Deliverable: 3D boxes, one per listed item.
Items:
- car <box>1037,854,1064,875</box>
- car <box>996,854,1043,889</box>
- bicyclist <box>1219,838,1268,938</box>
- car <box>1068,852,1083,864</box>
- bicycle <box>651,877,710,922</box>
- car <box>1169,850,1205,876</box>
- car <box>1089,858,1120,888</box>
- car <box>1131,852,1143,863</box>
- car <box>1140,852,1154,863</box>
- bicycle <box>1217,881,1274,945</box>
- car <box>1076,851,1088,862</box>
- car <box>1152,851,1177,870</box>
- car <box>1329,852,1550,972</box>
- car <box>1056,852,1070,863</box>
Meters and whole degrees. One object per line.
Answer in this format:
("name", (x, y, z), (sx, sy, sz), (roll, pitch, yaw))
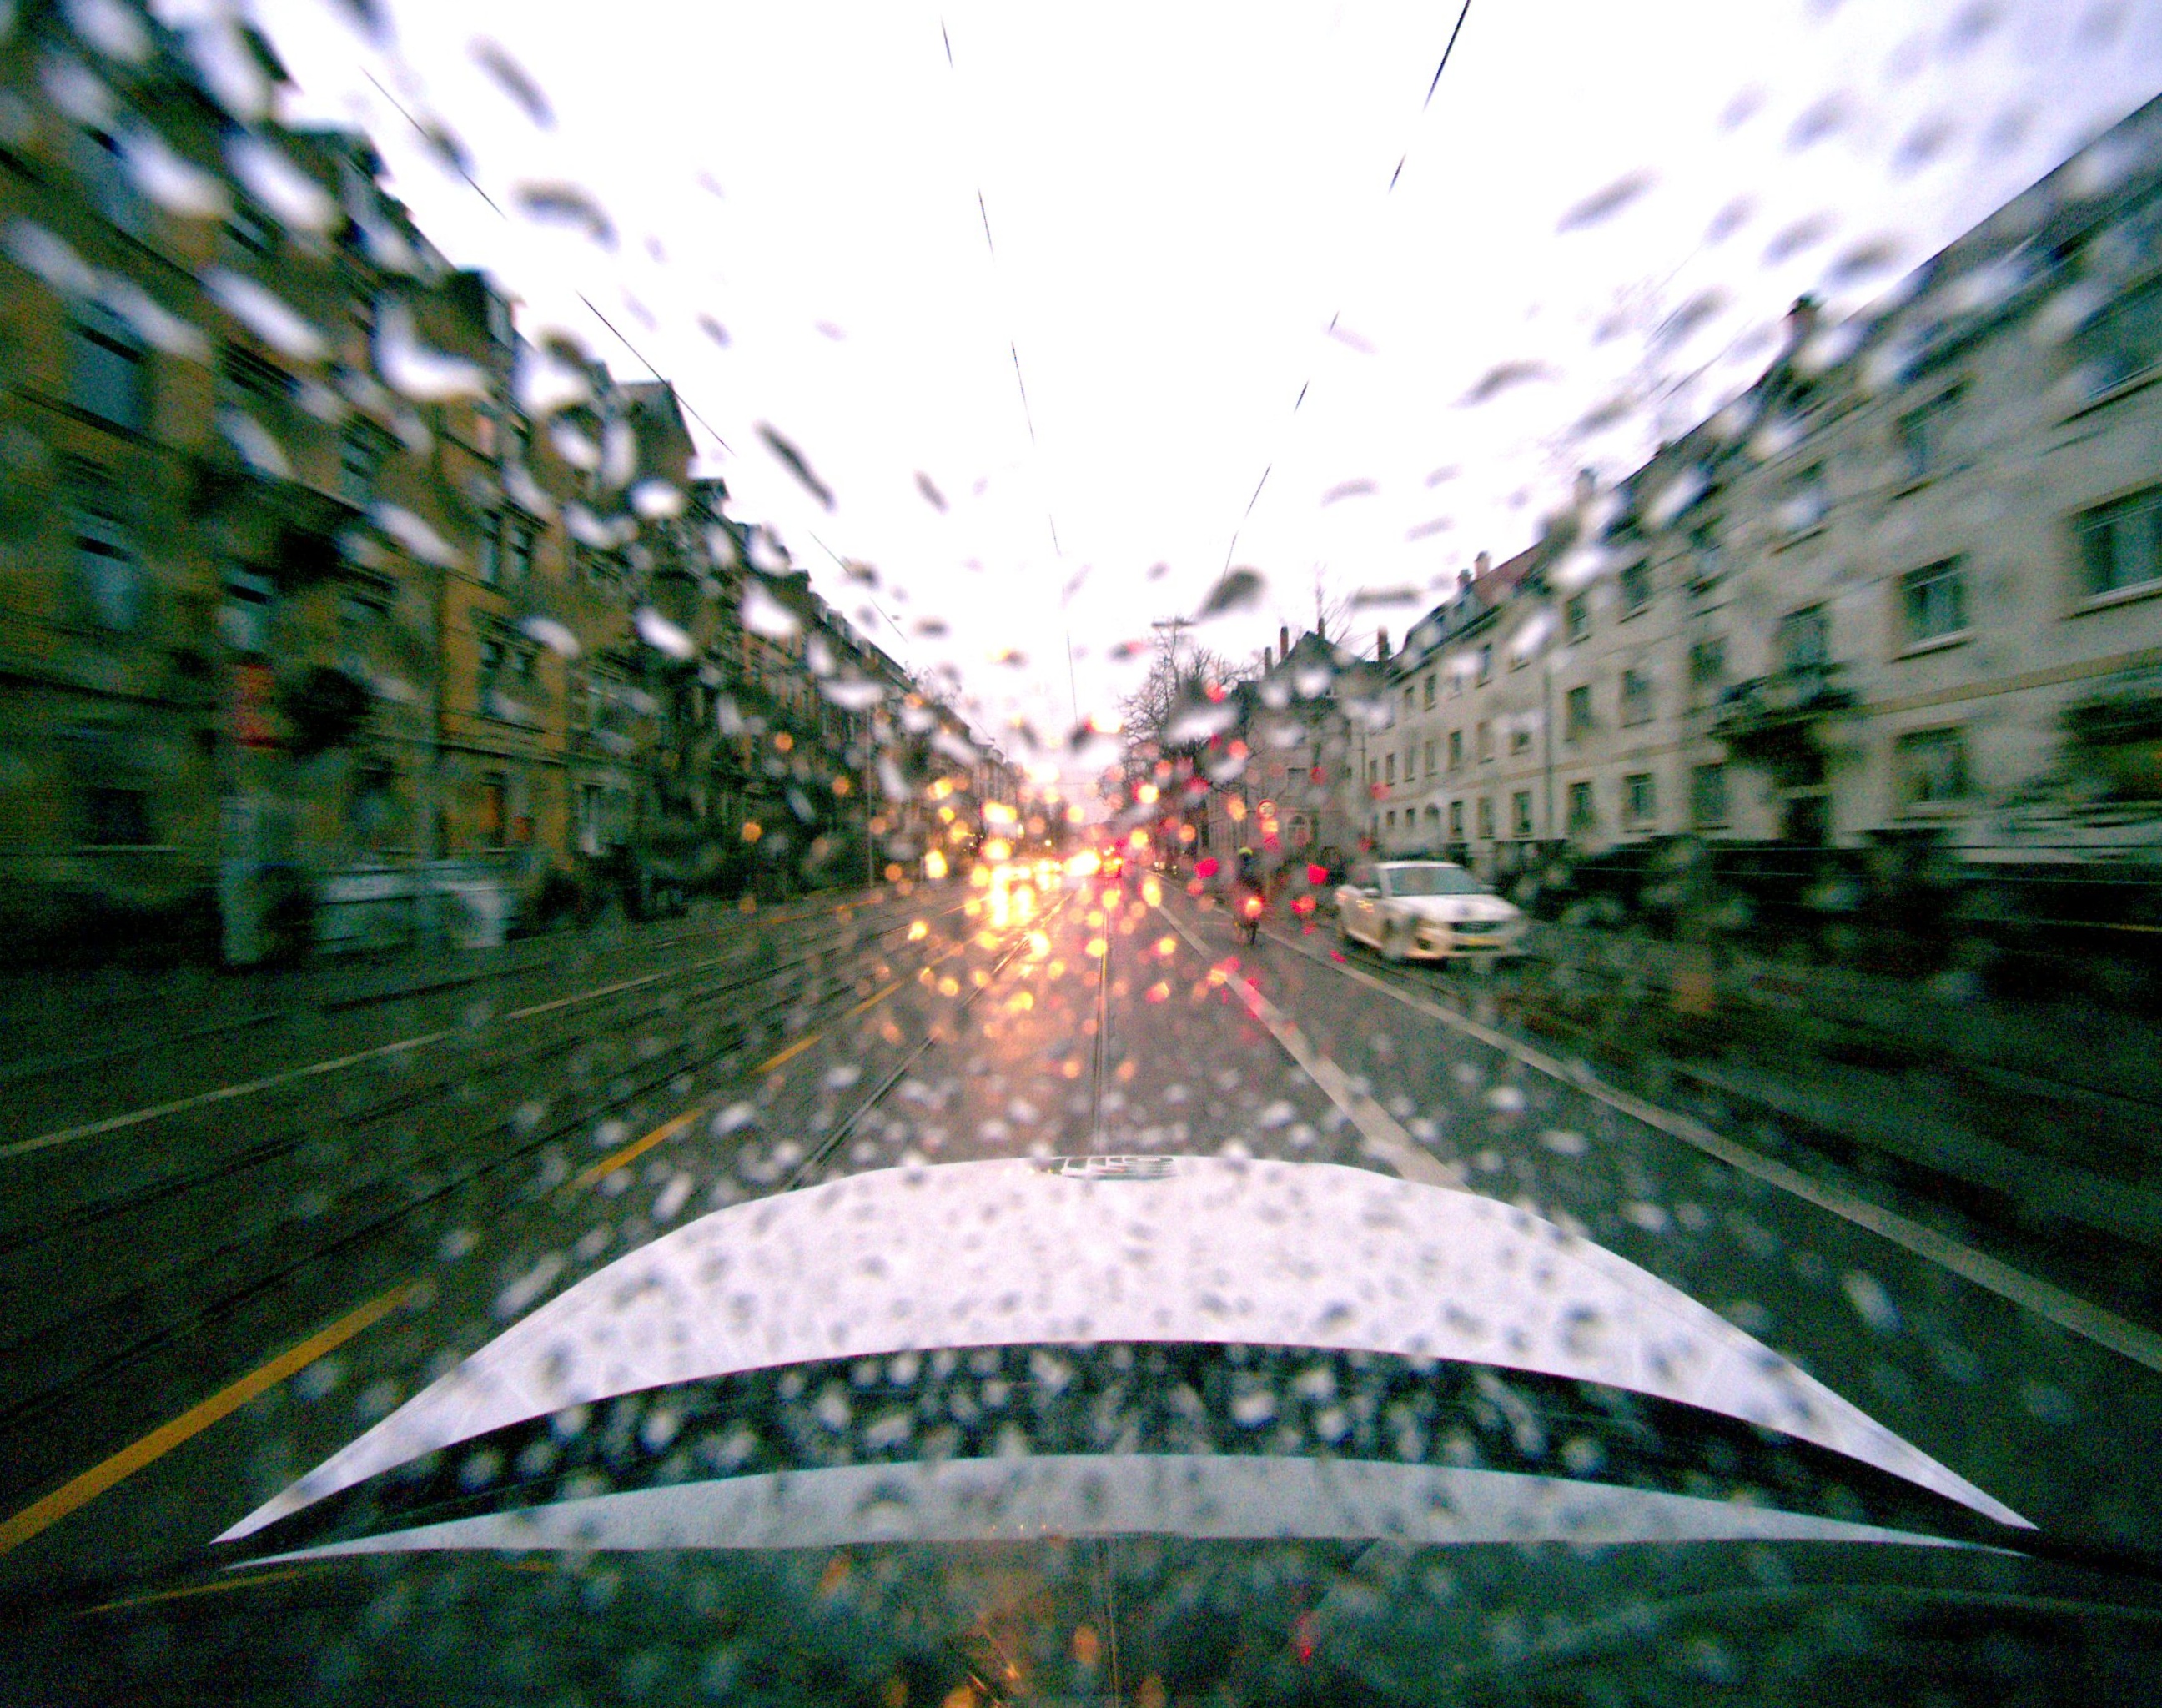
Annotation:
("car", (-2.543, 0.845, 68.417), (1.916, 1.662, 4.002), (-1, 0, 2))
("car", (-3.073, 0.862, 41.576), (1.916, 1.662, 4.002), (-1, 0, 2))
("bicyclist", (2.896, 0.588, 14.550), (0.727, 1.736, 0.766), (-1, 0, 3))
("car", (-0.772, 0.548, 116.354), (1.916, 1.662, 4.002), (-1, 0, 2))
("bicycle", (-10.004, 1.117, 20.406), (0.494, 1.007, 1.765), (-1, 0, 3))
("car", (6.515, 0.536, 50.466), (1.778, 1.509, 4.110), (-1, 0, 2))
("car", (1.636, 1.250, 54.993), (1.793, 1.871, 4.024), (2, 0, 5))
("car", (8.769, 0.532, 127.415), (1.778, 1.509, 4.110), (-1, 0, 2))
("car", (9.290, 0.471, 114.233), (1.778, 1.509, 4.110), (-1, 0, 2))
("bicycle", (2.903, 1.020, 14.503), (0.728, 1.007, 1.765), (-1, 0, 3))
("car", (0.153, 0.406, 136.044), (1.916, 1.662, 4.002), (-1, 0, 2))
("car", (6.983, 0.506, 68.494), (1.778, 1.509, 4.110), (-1, 0, 2))
("car", (5.241, 0.749, 12.550), (1.778, 1.509, 4.112), (-1, 0, 3))
("car", (-2.844, 0.526, 130.962), (1.916, 1.720, 4.002), (-1, 0, 2))
